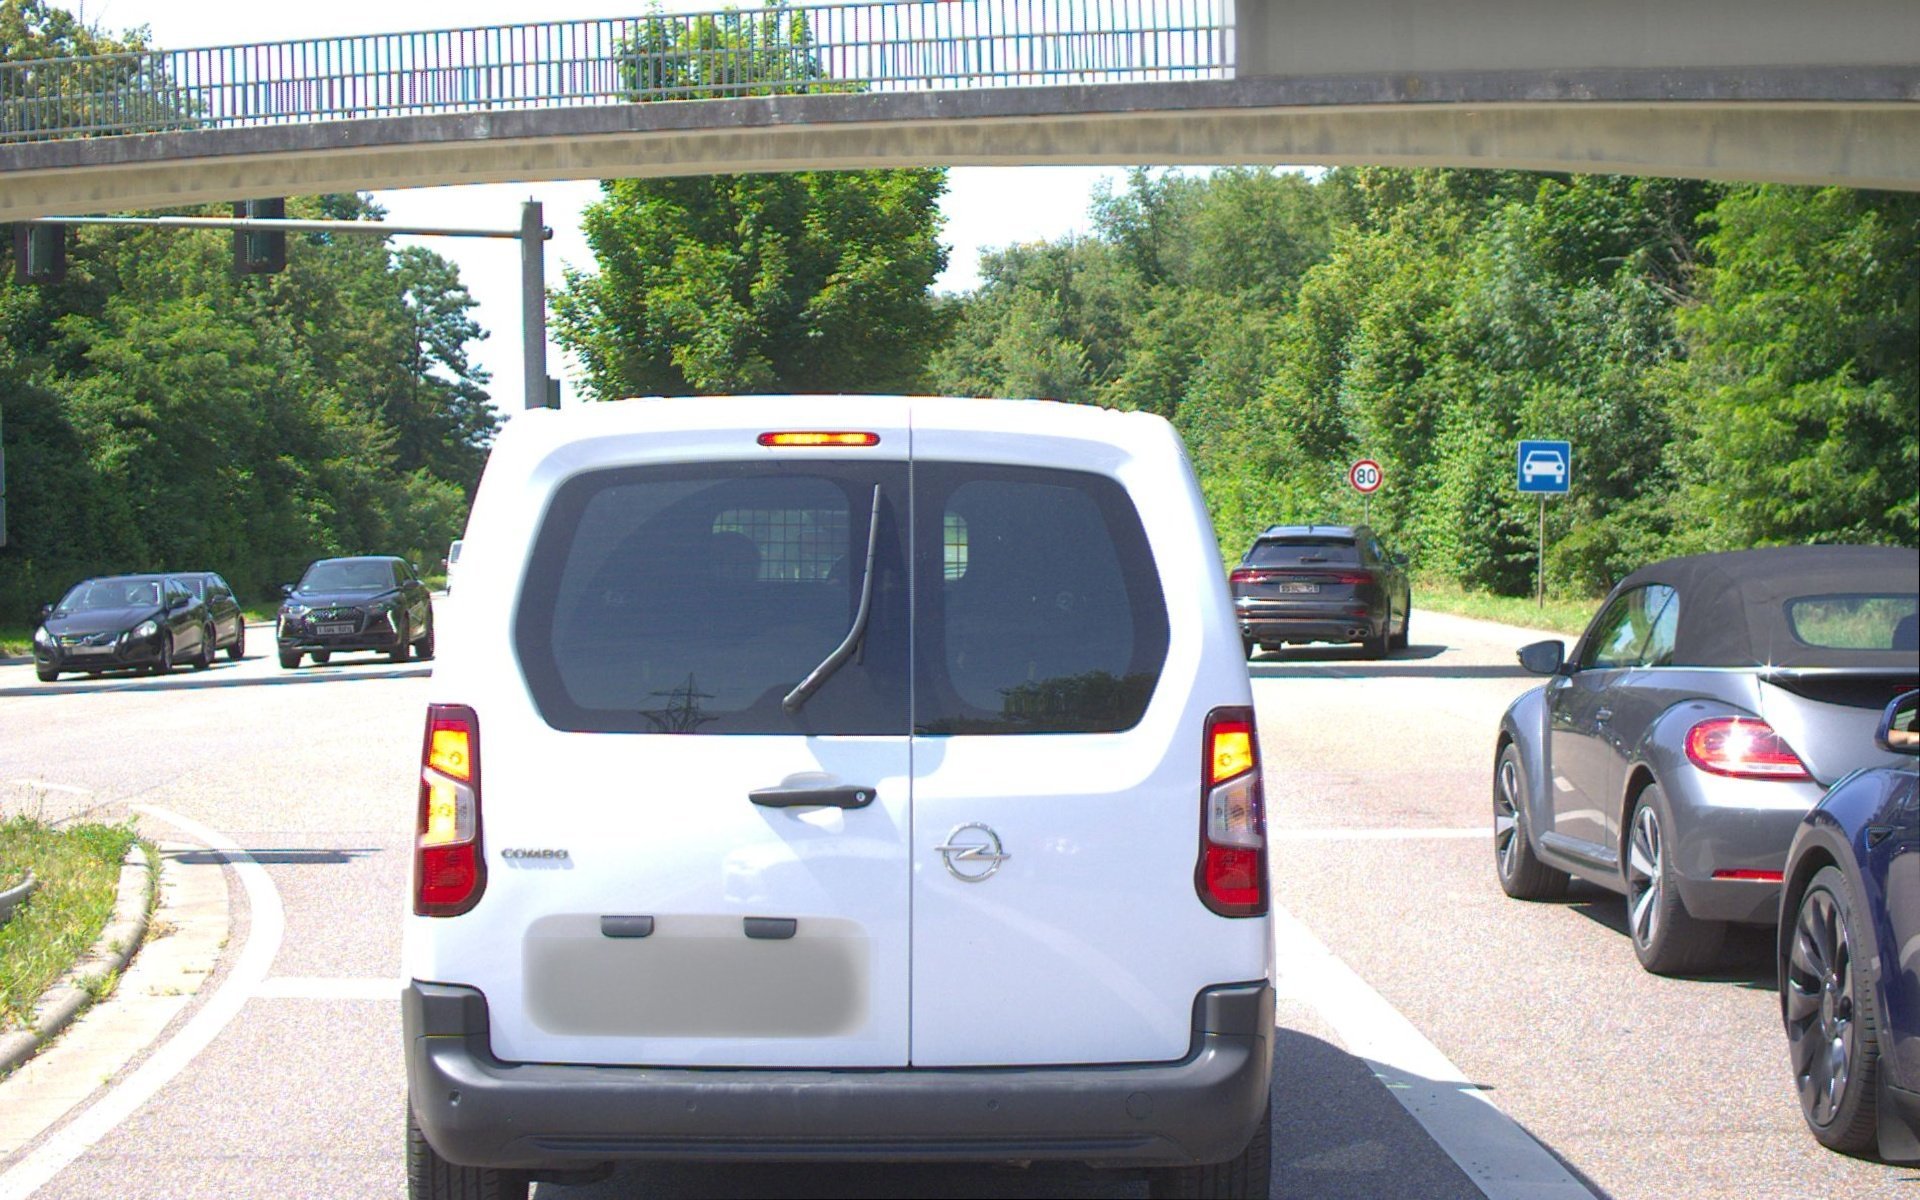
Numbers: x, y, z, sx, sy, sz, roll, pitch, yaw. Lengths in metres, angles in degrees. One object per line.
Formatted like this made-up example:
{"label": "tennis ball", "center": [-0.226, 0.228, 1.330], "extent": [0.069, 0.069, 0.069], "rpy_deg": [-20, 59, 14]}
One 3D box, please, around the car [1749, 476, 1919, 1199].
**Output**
{"label": "car", "center": [3.065, 0.573, 6.788], "extent": [1.900, 1.639, 4.520], "rpy_deg": [1, 1, -1]}

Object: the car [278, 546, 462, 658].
{"label": "car", "center": [-8.406, -0.005, 49.303], "extent": [1.993, 1.518, 4.028], "rpy_deg": [0, 1, -1]}

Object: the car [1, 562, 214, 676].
{"label": "car", "center": [-12.061, 0.243, 48.891], "extent": [2.008, 1.455, 4.055], "rpy_deg": [-2, 1, -1]}

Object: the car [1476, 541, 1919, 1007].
{"label": "car", "center": [3.227, 0.533, 12.991], "extent": [1.900, 1.472, 3.939], "rpy_deg": [1, 1, -1]}

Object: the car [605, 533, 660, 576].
{"label": "car", "center": [-15.942, -2.215, 167.345], "extent": [2.208, 1.986, 4.734], "rpy_deg": [-2, 1, -1]}

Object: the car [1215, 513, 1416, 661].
{"label": "car", "center": [4.597, -0.212, 43.791], "extent": [2.043, 1.693, 5.084], "rpy_deg": [-3, 1, 11]}

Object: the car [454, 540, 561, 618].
{"label": "car", "center": [-12.280, -0.602, 93.625], "extent": [2.208, 1.986, 5.489], "rpy_deg": [-2, 1, -1]}

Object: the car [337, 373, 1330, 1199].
{"label": "car", "center": [-0.292, 0.435, 8.449], "extent": [1.849, 1.819, 3.982], "rpy_deg": [1, 2, -2]}
